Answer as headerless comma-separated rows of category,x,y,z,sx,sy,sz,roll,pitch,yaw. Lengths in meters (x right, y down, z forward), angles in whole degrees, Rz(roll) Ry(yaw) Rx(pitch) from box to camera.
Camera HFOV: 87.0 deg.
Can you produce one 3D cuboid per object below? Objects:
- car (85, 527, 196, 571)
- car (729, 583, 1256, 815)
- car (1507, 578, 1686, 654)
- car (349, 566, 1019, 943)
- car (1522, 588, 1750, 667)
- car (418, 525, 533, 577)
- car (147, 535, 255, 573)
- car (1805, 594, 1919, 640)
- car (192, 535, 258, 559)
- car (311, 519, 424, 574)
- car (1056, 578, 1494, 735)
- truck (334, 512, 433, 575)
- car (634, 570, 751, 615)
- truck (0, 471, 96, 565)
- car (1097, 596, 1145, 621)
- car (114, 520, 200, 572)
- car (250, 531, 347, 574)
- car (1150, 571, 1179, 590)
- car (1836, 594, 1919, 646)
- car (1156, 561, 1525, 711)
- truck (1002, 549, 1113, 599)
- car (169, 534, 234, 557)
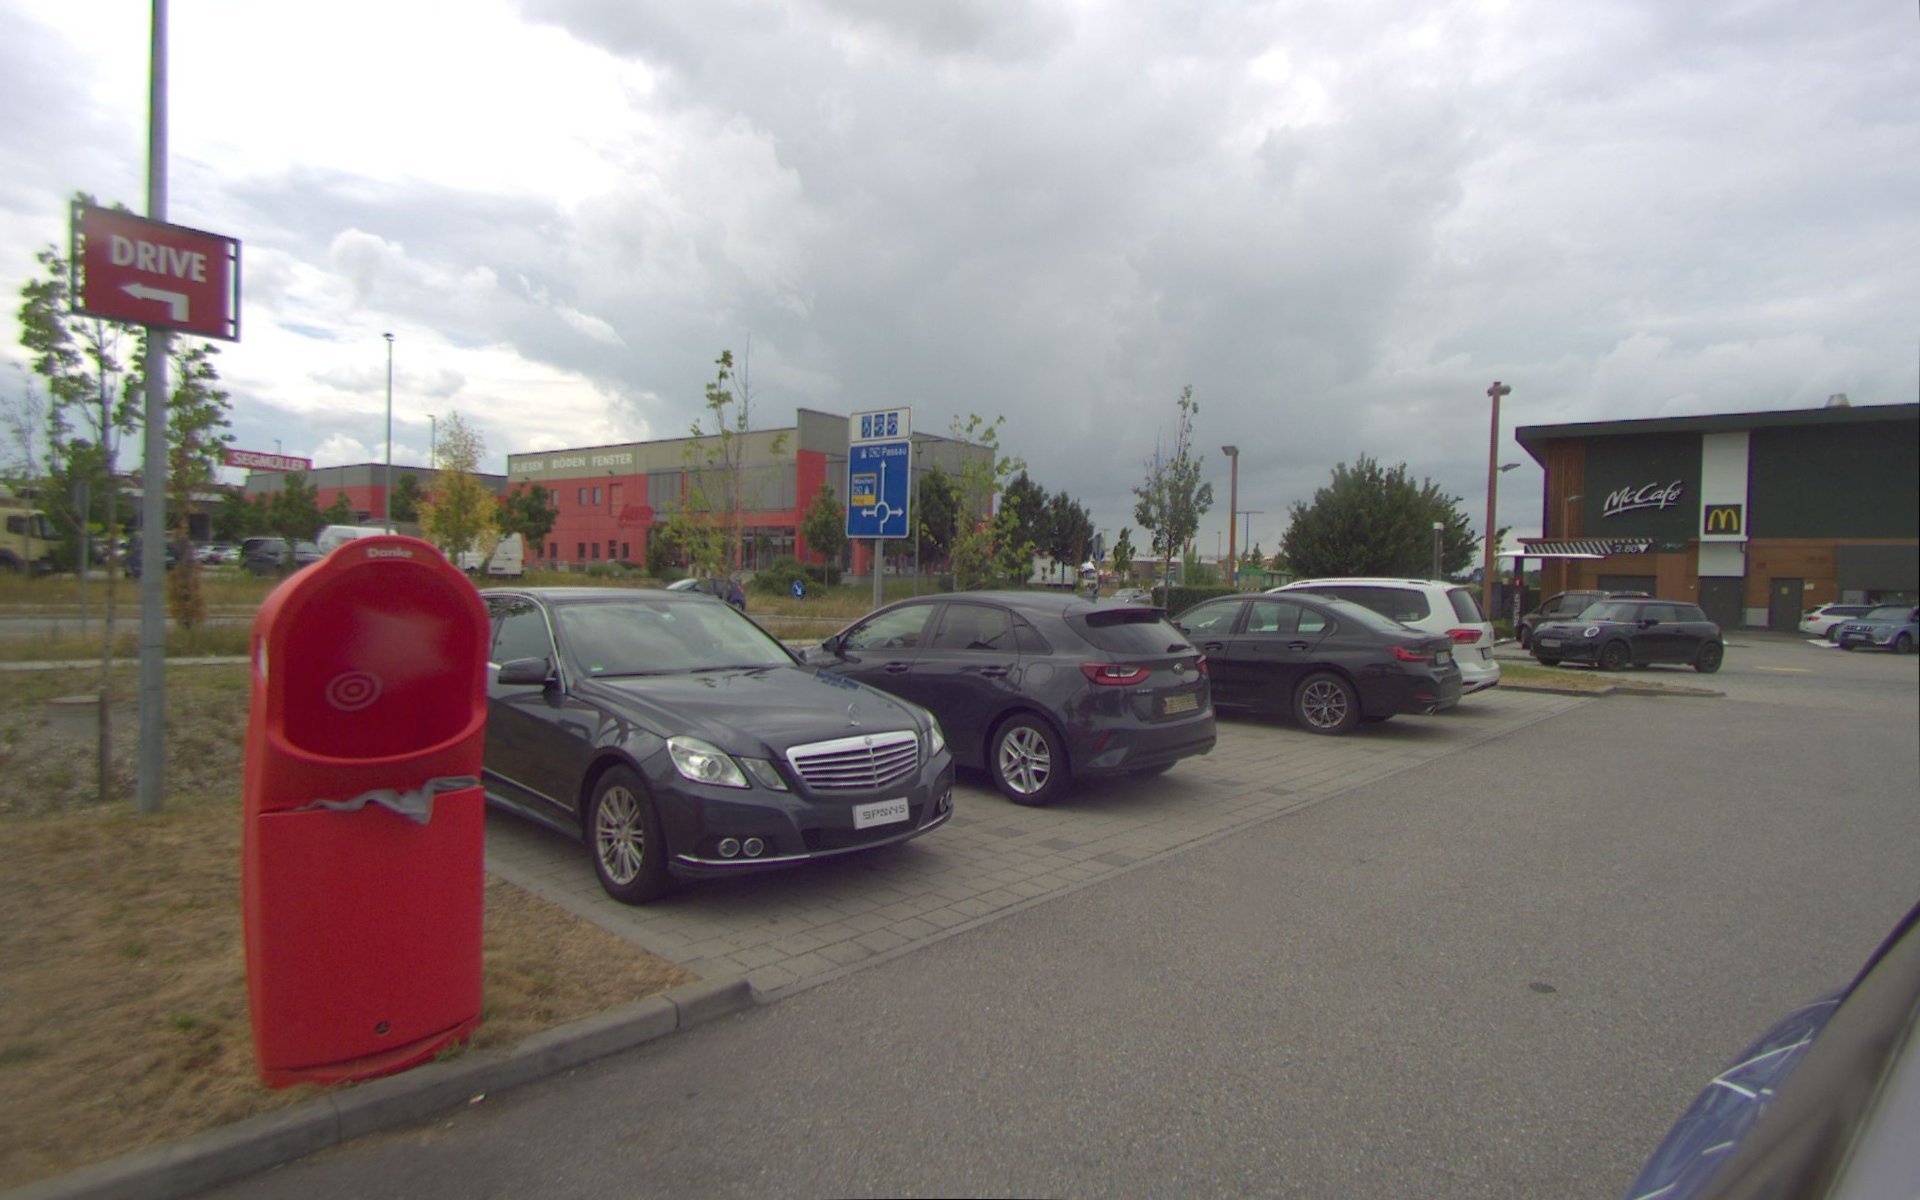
car,-41.833,-2.585,51.733,1.984,2.038,3.957,4,3,30
car,0.111,0.597,8.266,4.052,1.430,1.861,0,0,40
car,17.048,0.357,27.374,1.774,1.710,4.198,2,3,-7
car,-2.031,0.590,6.293,4.727,1.475,1.881,0,0,44
car,13.746,0.544,20.637,3.848,1.430,1.691,2,0,-15
car,-24.006,-2.461,50.003,6.469,2.295,2.315,4,3,36
car,-37.645,-2.269,50.244,1.881,1.759,3.946,4,3,37
car,36.099,0.664,39.920,3.976,1.524,1.766,4,3,35
car,-58.805,-4.220,81.019,1.926,1.757,3.942,4,3,40
car,-27.182,-2.468,46.343,6.029,2.241,2.383,5,2,38
car,3.505,0.519,11.740,4.495,1.485,1.919,0,0,40
truck,-37.868,-3.770,66.332,8.212,3.789,2.621,4,3,37
car,-9.658,-0.297,36.721,1.654,1.477,3.864,4,3,40
truck,-36.660,-3.072,36.203,8.254,3.235,3.037,2,2,-14
car,10.757,0.586,67.357,1.741,1.510,4.085,3,1,30
car,-32.290,-2.154,40.643,5.054,1.908,2.045,3,1,44
car,-28.910,-2.088,44.180,5.045,1.659,2.049,5,2,38
car,20.927,-2.025,103.575,1.961,1.726,4.004,2,3,-2
car,31.773,0.680,33.885,3.823,1.603,1.755,2,3,-14
car,5.084,0.401,13.827,4.352,1.734,1.963,0,0,40
truck,10.034,-2.802,105.926,3.704,4.553,11.976,0,3,-43
car,-62.032,-4.445,82.762,1.926,1.757,3.942,4,3,40
